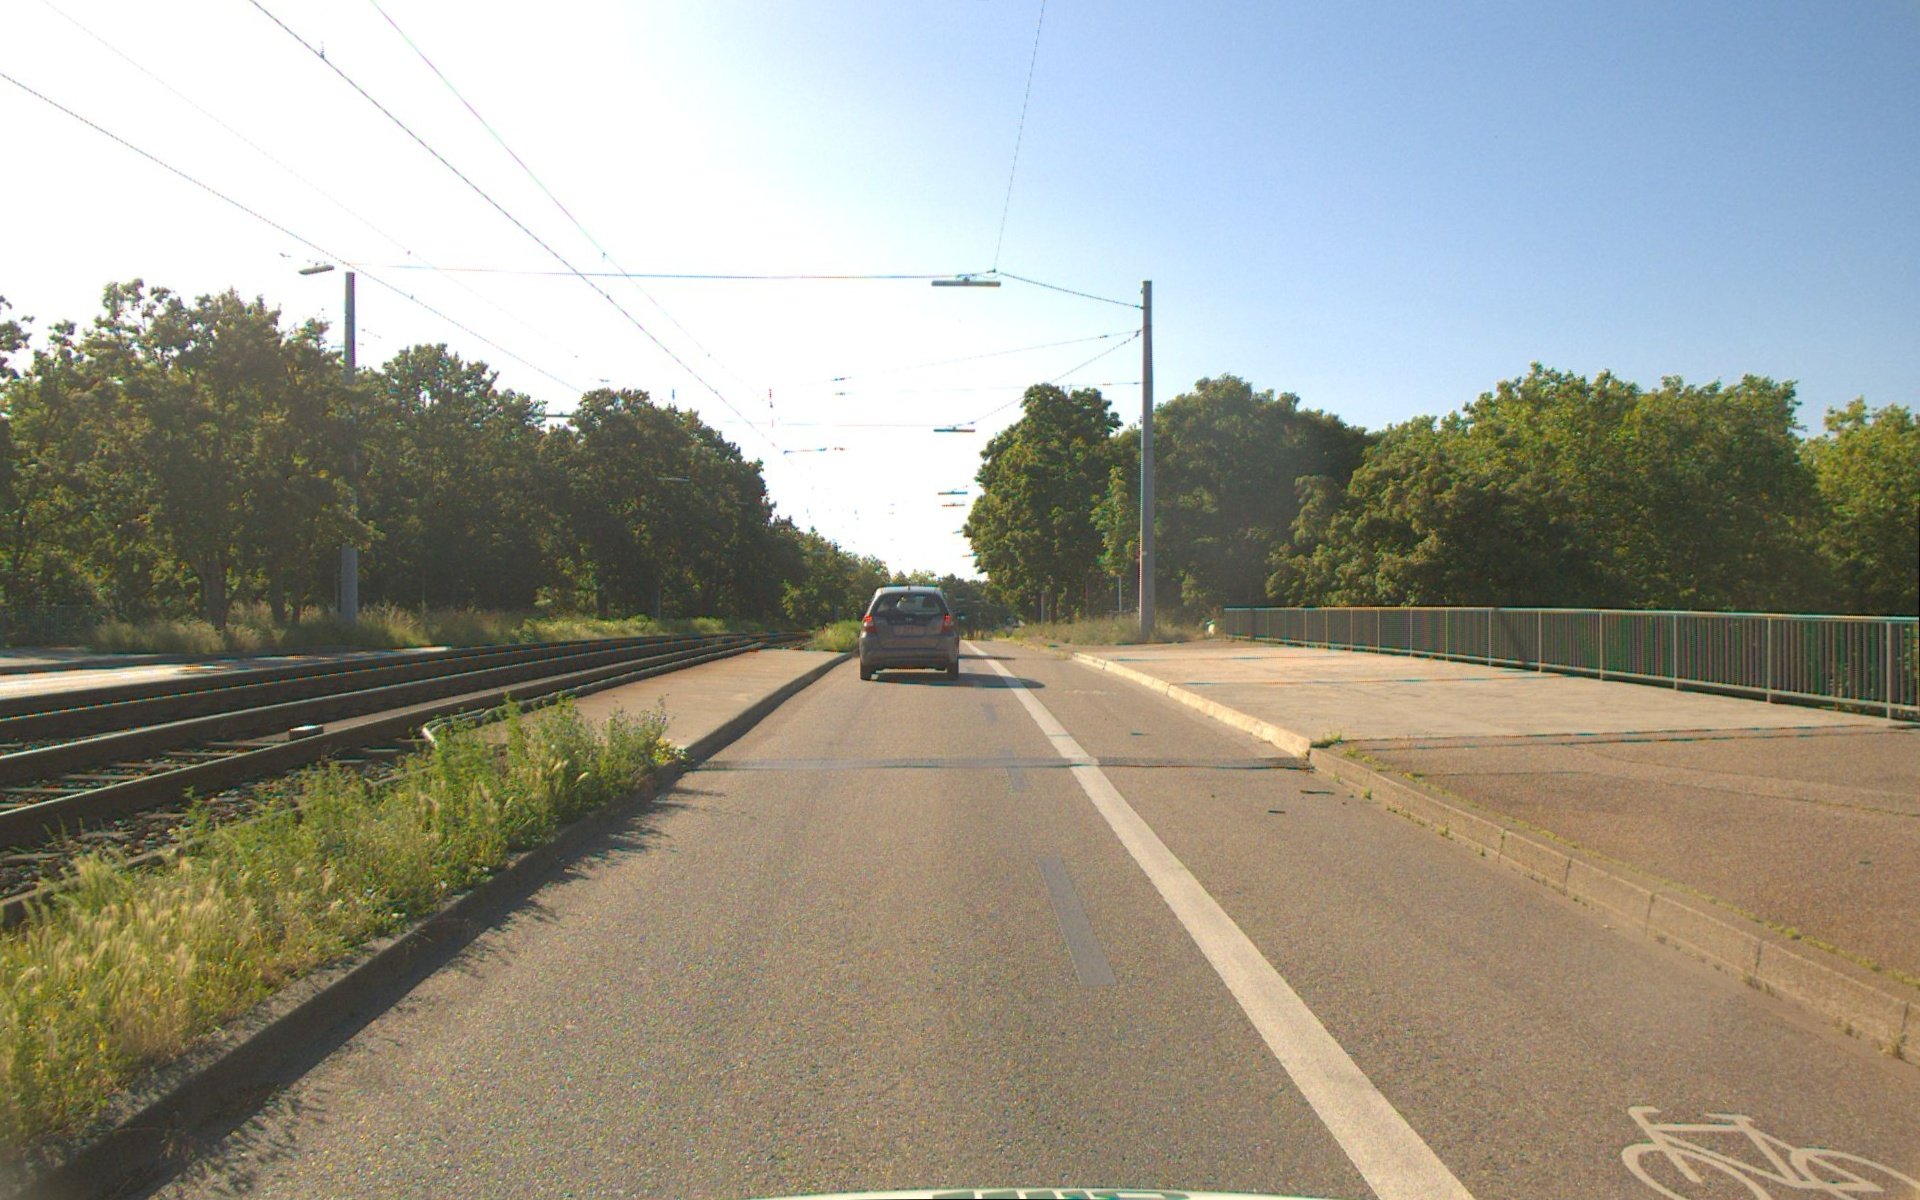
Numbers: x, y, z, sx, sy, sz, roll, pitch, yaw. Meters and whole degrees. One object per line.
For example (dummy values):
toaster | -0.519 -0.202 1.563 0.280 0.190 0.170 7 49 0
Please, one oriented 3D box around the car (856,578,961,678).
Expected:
car | -0.830 0.429 28.473 1.636 1.534 3.811 1 1 0

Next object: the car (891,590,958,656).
car | -0.876 0.553 42.555 1.621 1.534 3.811 1 1 0
